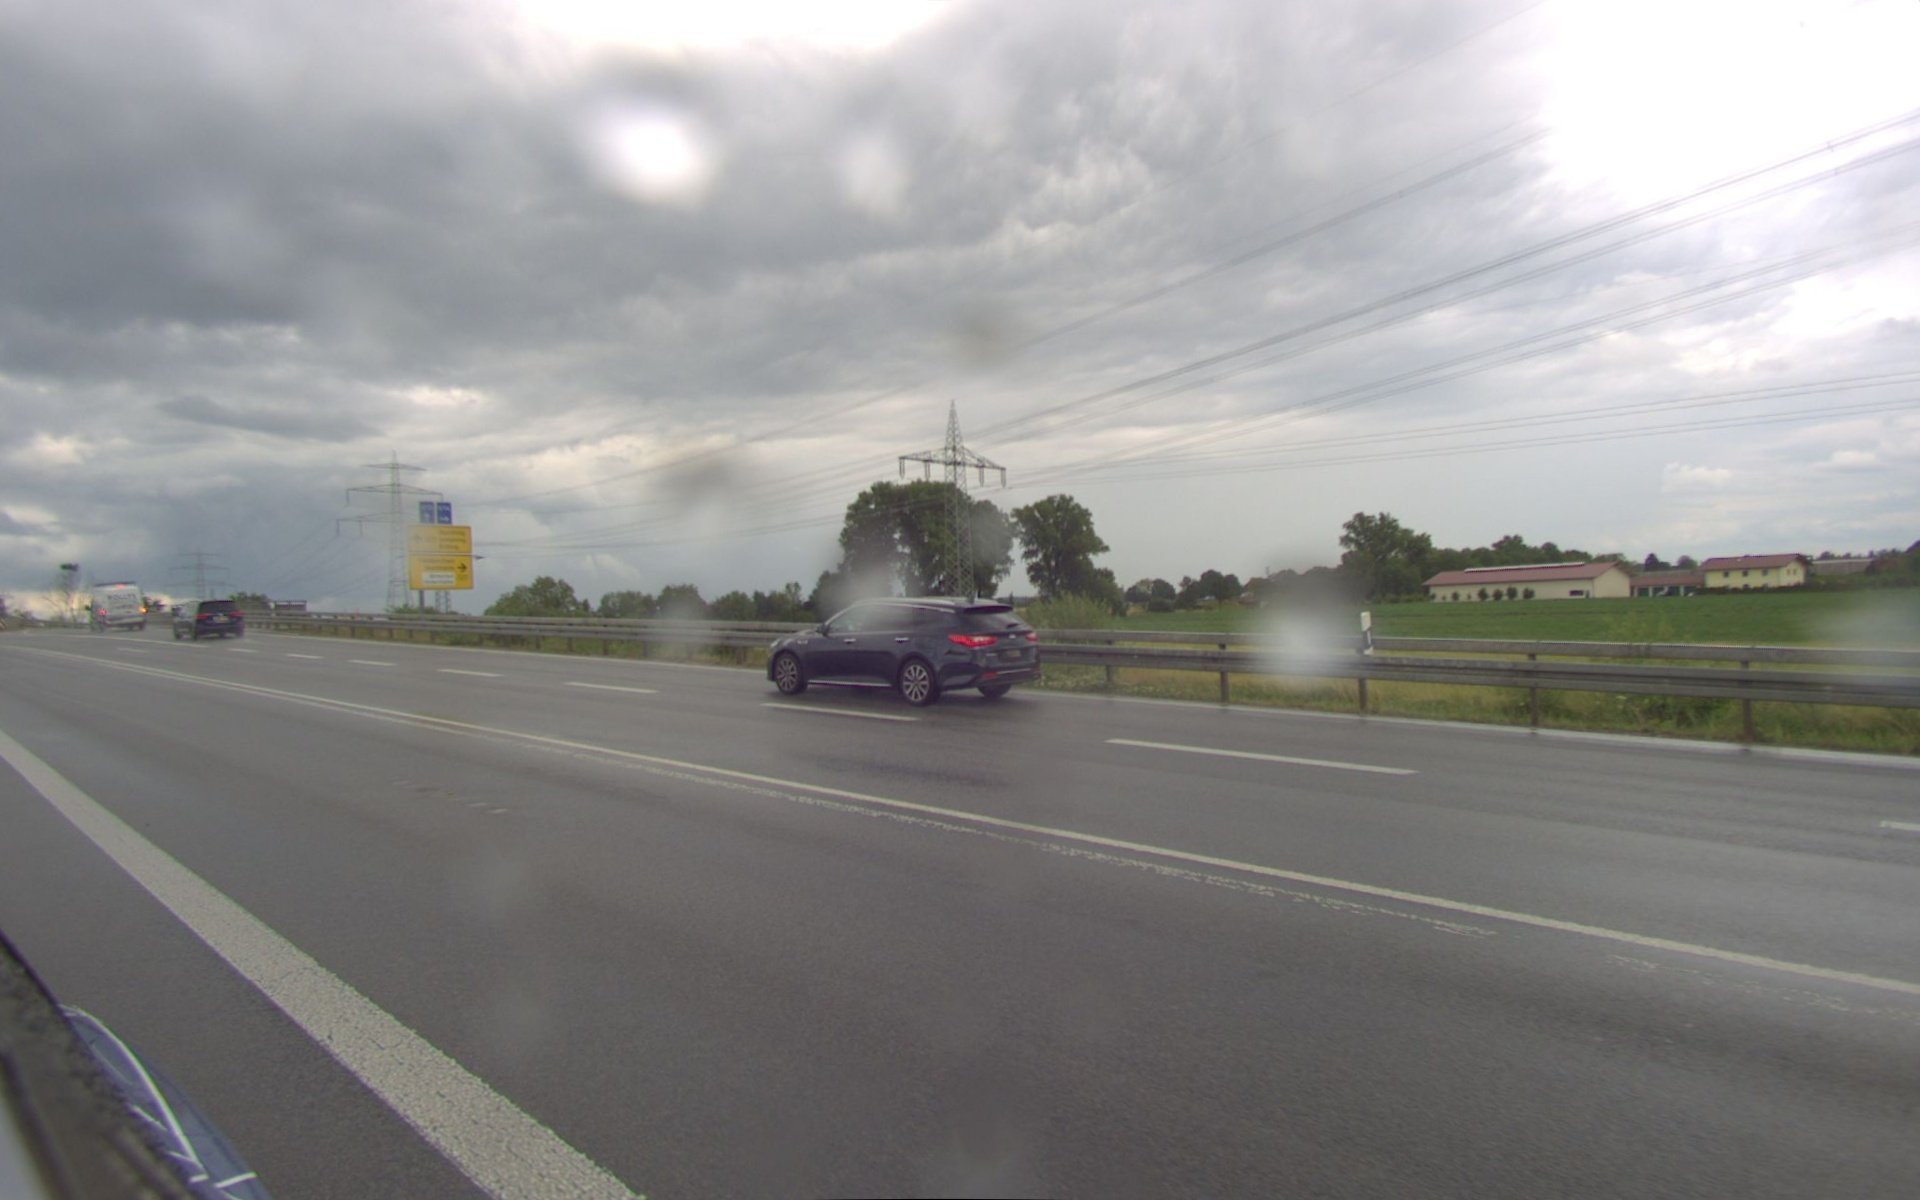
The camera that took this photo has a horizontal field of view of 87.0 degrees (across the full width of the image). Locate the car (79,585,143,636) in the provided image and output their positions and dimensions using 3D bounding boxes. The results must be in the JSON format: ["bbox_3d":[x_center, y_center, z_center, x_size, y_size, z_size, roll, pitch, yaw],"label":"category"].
[{"bbox_3d":[-48.157,0.609,57.364,5.458,2.674,1.949,-1,1,42],"label":"car"}]

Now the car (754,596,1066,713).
[{"bbox_3d":[-0.879,0.719,14.931,4.733,1.437,1.752,-1,0,42],"label":"car"}]

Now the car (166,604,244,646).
[{"bbox_3d":[-31.864,1.051,42.669,4.635,1.622,1.690,-1,1,42],"label":"car"}]
